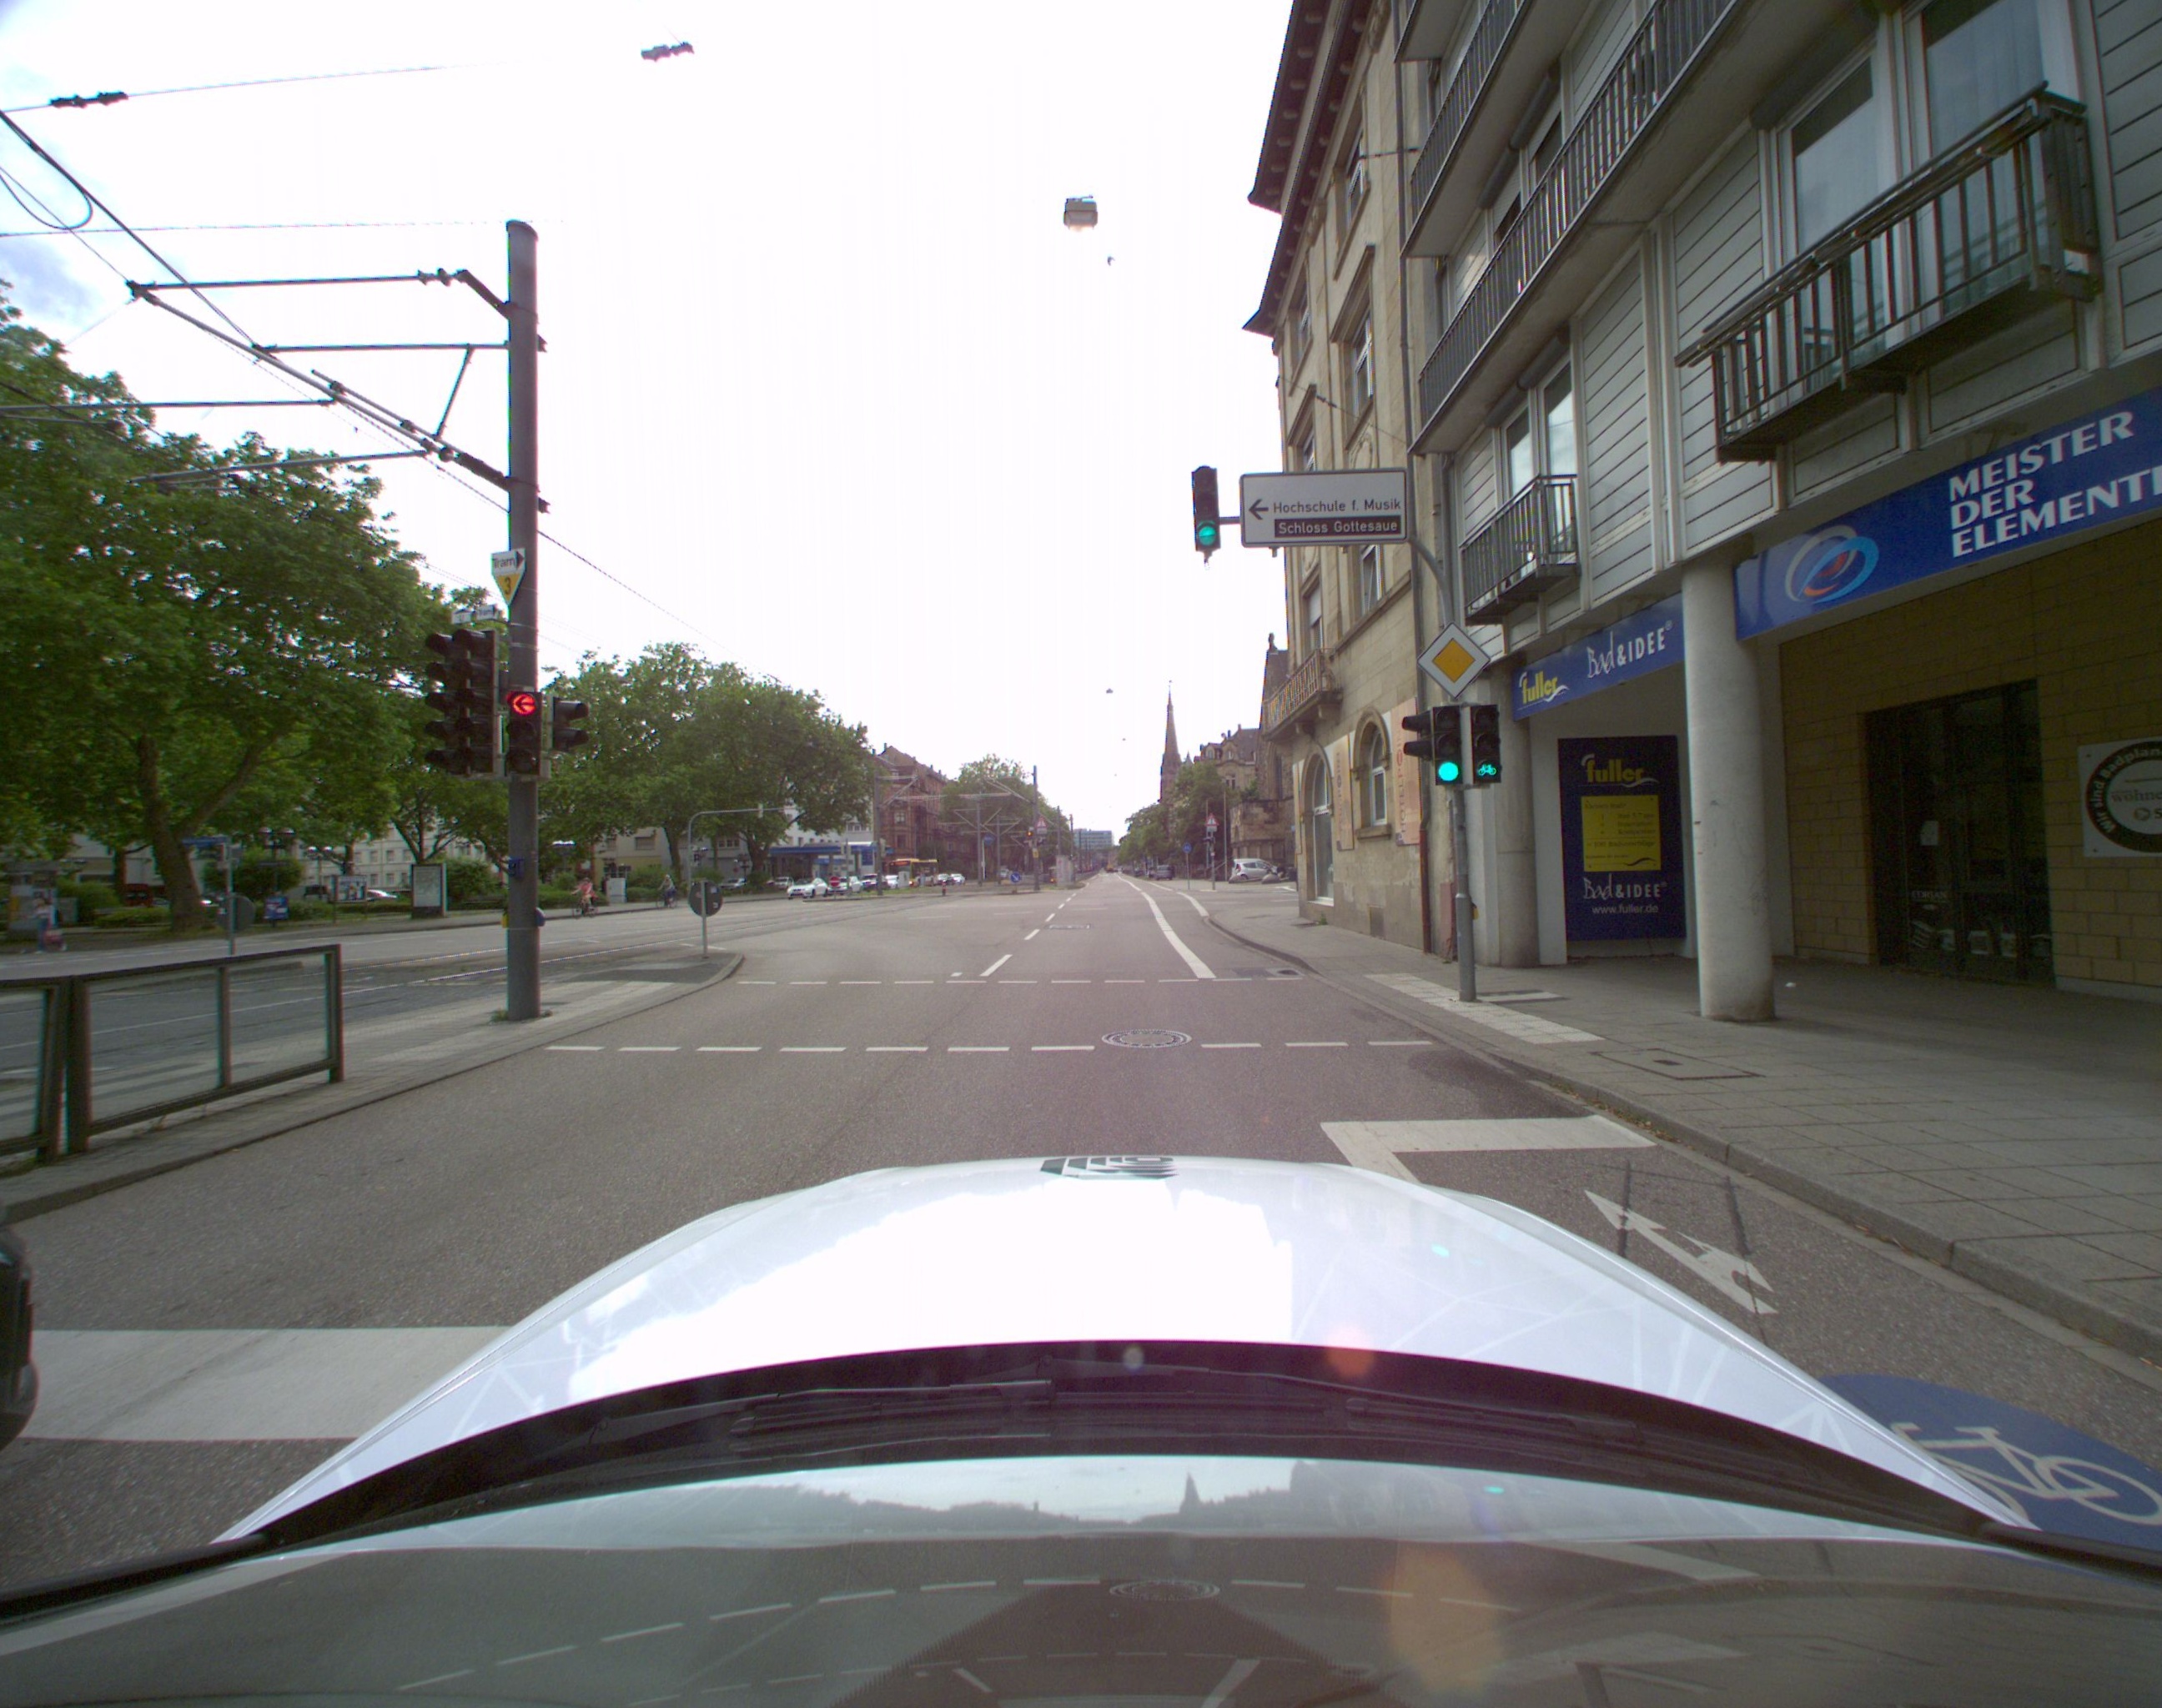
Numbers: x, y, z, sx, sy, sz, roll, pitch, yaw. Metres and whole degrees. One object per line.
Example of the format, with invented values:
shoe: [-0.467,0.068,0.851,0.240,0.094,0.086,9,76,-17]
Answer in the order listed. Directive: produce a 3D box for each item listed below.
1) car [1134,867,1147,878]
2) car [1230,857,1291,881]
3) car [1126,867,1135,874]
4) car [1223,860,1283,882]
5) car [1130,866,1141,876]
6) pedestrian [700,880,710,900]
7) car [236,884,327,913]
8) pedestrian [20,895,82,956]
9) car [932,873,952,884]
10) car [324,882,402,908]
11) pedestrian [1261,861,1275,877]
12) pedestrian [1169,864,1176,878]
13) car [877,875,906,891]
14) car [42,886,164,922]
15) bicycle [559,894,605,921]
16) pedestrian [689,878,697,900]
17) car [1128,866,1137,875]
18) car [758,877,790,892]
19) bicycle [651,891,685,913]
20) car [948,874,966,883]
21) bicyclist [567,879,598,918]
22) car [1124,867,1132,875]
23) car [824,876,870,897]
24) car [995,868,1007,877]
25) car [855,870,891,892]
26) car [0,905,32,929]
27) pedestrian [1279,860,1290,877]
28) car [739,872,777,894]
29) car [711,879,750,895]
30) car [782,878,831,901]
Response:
car: [9.779,3.021,134.496,1.986,1.820,4.001,-2,-1,2]
car: [14.640,1.197,66.503,4.593,1.881,1.663,0,-1,1]
car: [12.707,4.236,208.953,1.986,1.926,4.000,0,-1,1]
car: [13.310,1.317,63.034,4.332,1.636,1.663,0,-1,1]
car: [11.447,3.551,170.704,1.986,1.882,4.001,-2,-1,2]
pedestrian: [-25.390,2.405,54.982,0.454,1.326,0.469,-1,-1,-5]
car: [-64.569,3.572,65.857,4.825,2.101,2.072,-2,-1,-15]
pedestrian: [-29.934,2.063,23.671,0.802,1.690,0.755,-2,-1,-3]
car: [-17.304,3.067,101.531,1.695,1.358,3.893,0,-1,2]
car: [-65.147,3.726,73.949,4.825,2.101,2.072,-2,-1,-15]
pedestrian: [13.580,1.097,59.198,0.734,1.192,1.494,0,-1,2]
pedestrian: [10.761,2.047,96.042,0.772,1.647,0.800,-1,-1,8]
car: [-18.190,2.782,78.250,1.695,1.398,3.893,0,-1,2]
car: [-64.827,3.260,54.065,4.825,2.101,2.072,-2,-1,-15]
bicycle: [-22.040,2.362,36.009,0.724,1.064,1.993,-4,-1,1]
pedestrian: [-26.088,2.331,54.704,0.360,1.479,0.373,-1,-1,-5]
car: [11.989,3.861,189.163,1.986,2.014,4.000,0,-1,1]
car: [-29.616,2.892,78.659,1.695,1.358,3.406,0,-1,2]
bicycle: [-22.376,2.570,44.146,0.724,1.064,1.993,-4,-1,2]
car: [-16.531,3.255,108.683,1.695,1.221,3.893,0,-1,2]
bicyclist: [-22.068,1.963,36.072,0.703,1.637,0.994,-3,-1,1]
car: [12.575,4.439,216.566,1.986,2.014,4.000,0,-1,1]
car: [-18.634,2.530,65.034,1.834,1.526,5.704,0,-1,2]
car: [-14.608,3.359,148.400,1.695,1.712,3.893,0,-1,2]
car: [-18.320,2.349,71.911,1.695,1.783,5.152,0,-1,3]
car: [-66.392,3.833,48.294,4.825,1.389,2.072,-2,-1,-15]
pedestrian: [14.939,1.068,59.763,0.731,1.228,1.067,-1,-1,17]
car: [-31.961,2.830,80.645,1.986,2.014,4.001,-2,-1,2]
car: [-34.741,3.236,80.877,1.986,1.466,4.001,-2,-1,2]
car: [-19.252,2.459,57.268,1.835,1.448,4.415,0,-1,2]
